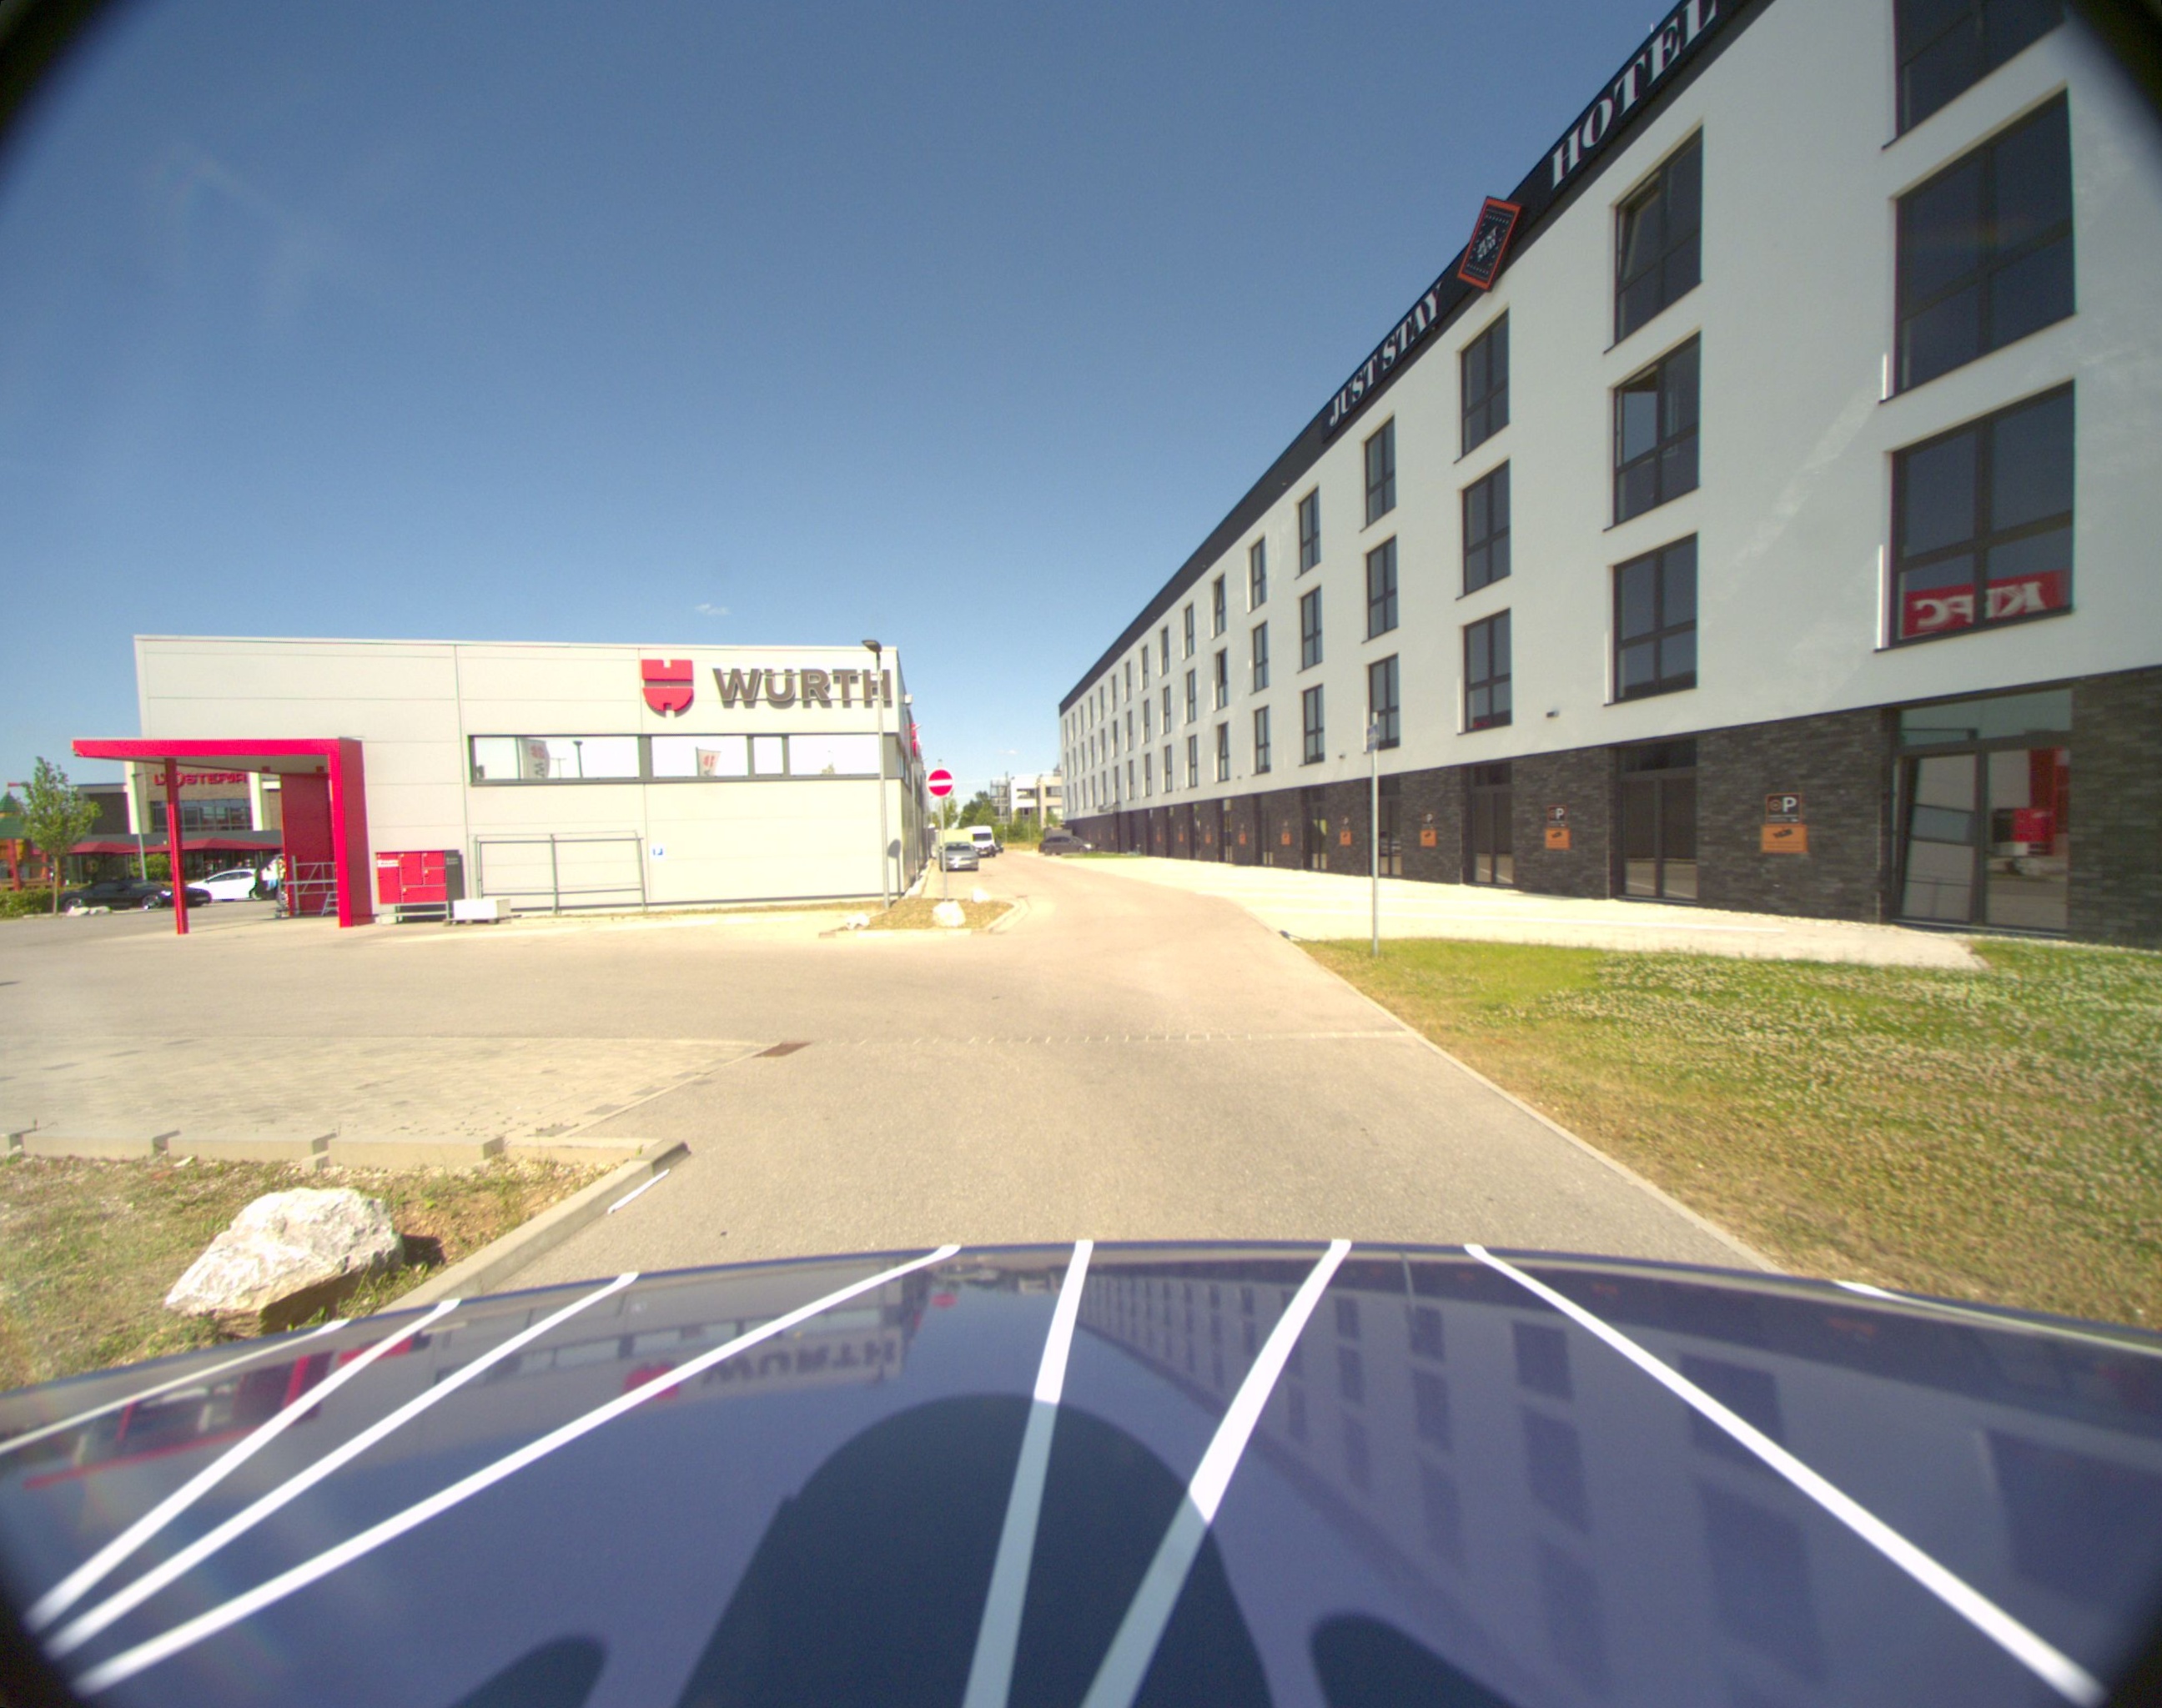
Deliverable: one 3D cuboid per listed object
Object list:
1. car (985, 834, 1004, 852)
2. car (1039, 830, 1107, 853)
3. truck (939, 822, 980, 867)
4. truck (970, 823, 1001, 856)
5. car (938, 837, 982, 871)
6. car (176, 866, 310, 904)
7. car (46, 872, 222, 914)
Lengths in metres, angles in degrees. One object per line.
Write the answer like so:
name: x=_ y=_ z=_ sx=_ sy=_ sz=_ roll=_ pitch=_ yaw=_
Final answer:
car: x=-8.210 y=-1.077 z=72.236 sx=1.718 sy=1.609 sz=3.996 roll=-3 pitch=3 yaw=-6
car: x=-0.592 y=-0.894 z=55.453 sx=4.514 sy=1.500 sz=1.882 roll=-1 pitch=2 yaw=26
truck: x=-7.183 y=-0.597 z=44.467 sx=2.124 sy=2.363 sz=5.883 roll=-3 pitch=2 yaw=-10
truck: x=-7.636 y=-1.167 z=60.314 sx=2.000 sy=2.363 sz=5.883 roll=-3 pitch=2 yaw=-10
car: x=-6.067 y=-0.049 z=37.909 sx=1.880 sy=1.500 sz=3.994 roll=-3 pitch=2 yaw=-12
car: x=-39.000 y=1.409 z=35.456 sx=3.913 sy=1.466 sz=1.802 roll=-3 pitch=2 yaw=-6
car: x=-38.103 y=1.558 z=30.686 sx=4.155 sy=1.330 sz=1.828 roll=-3 pitch=2 yaw=-12
